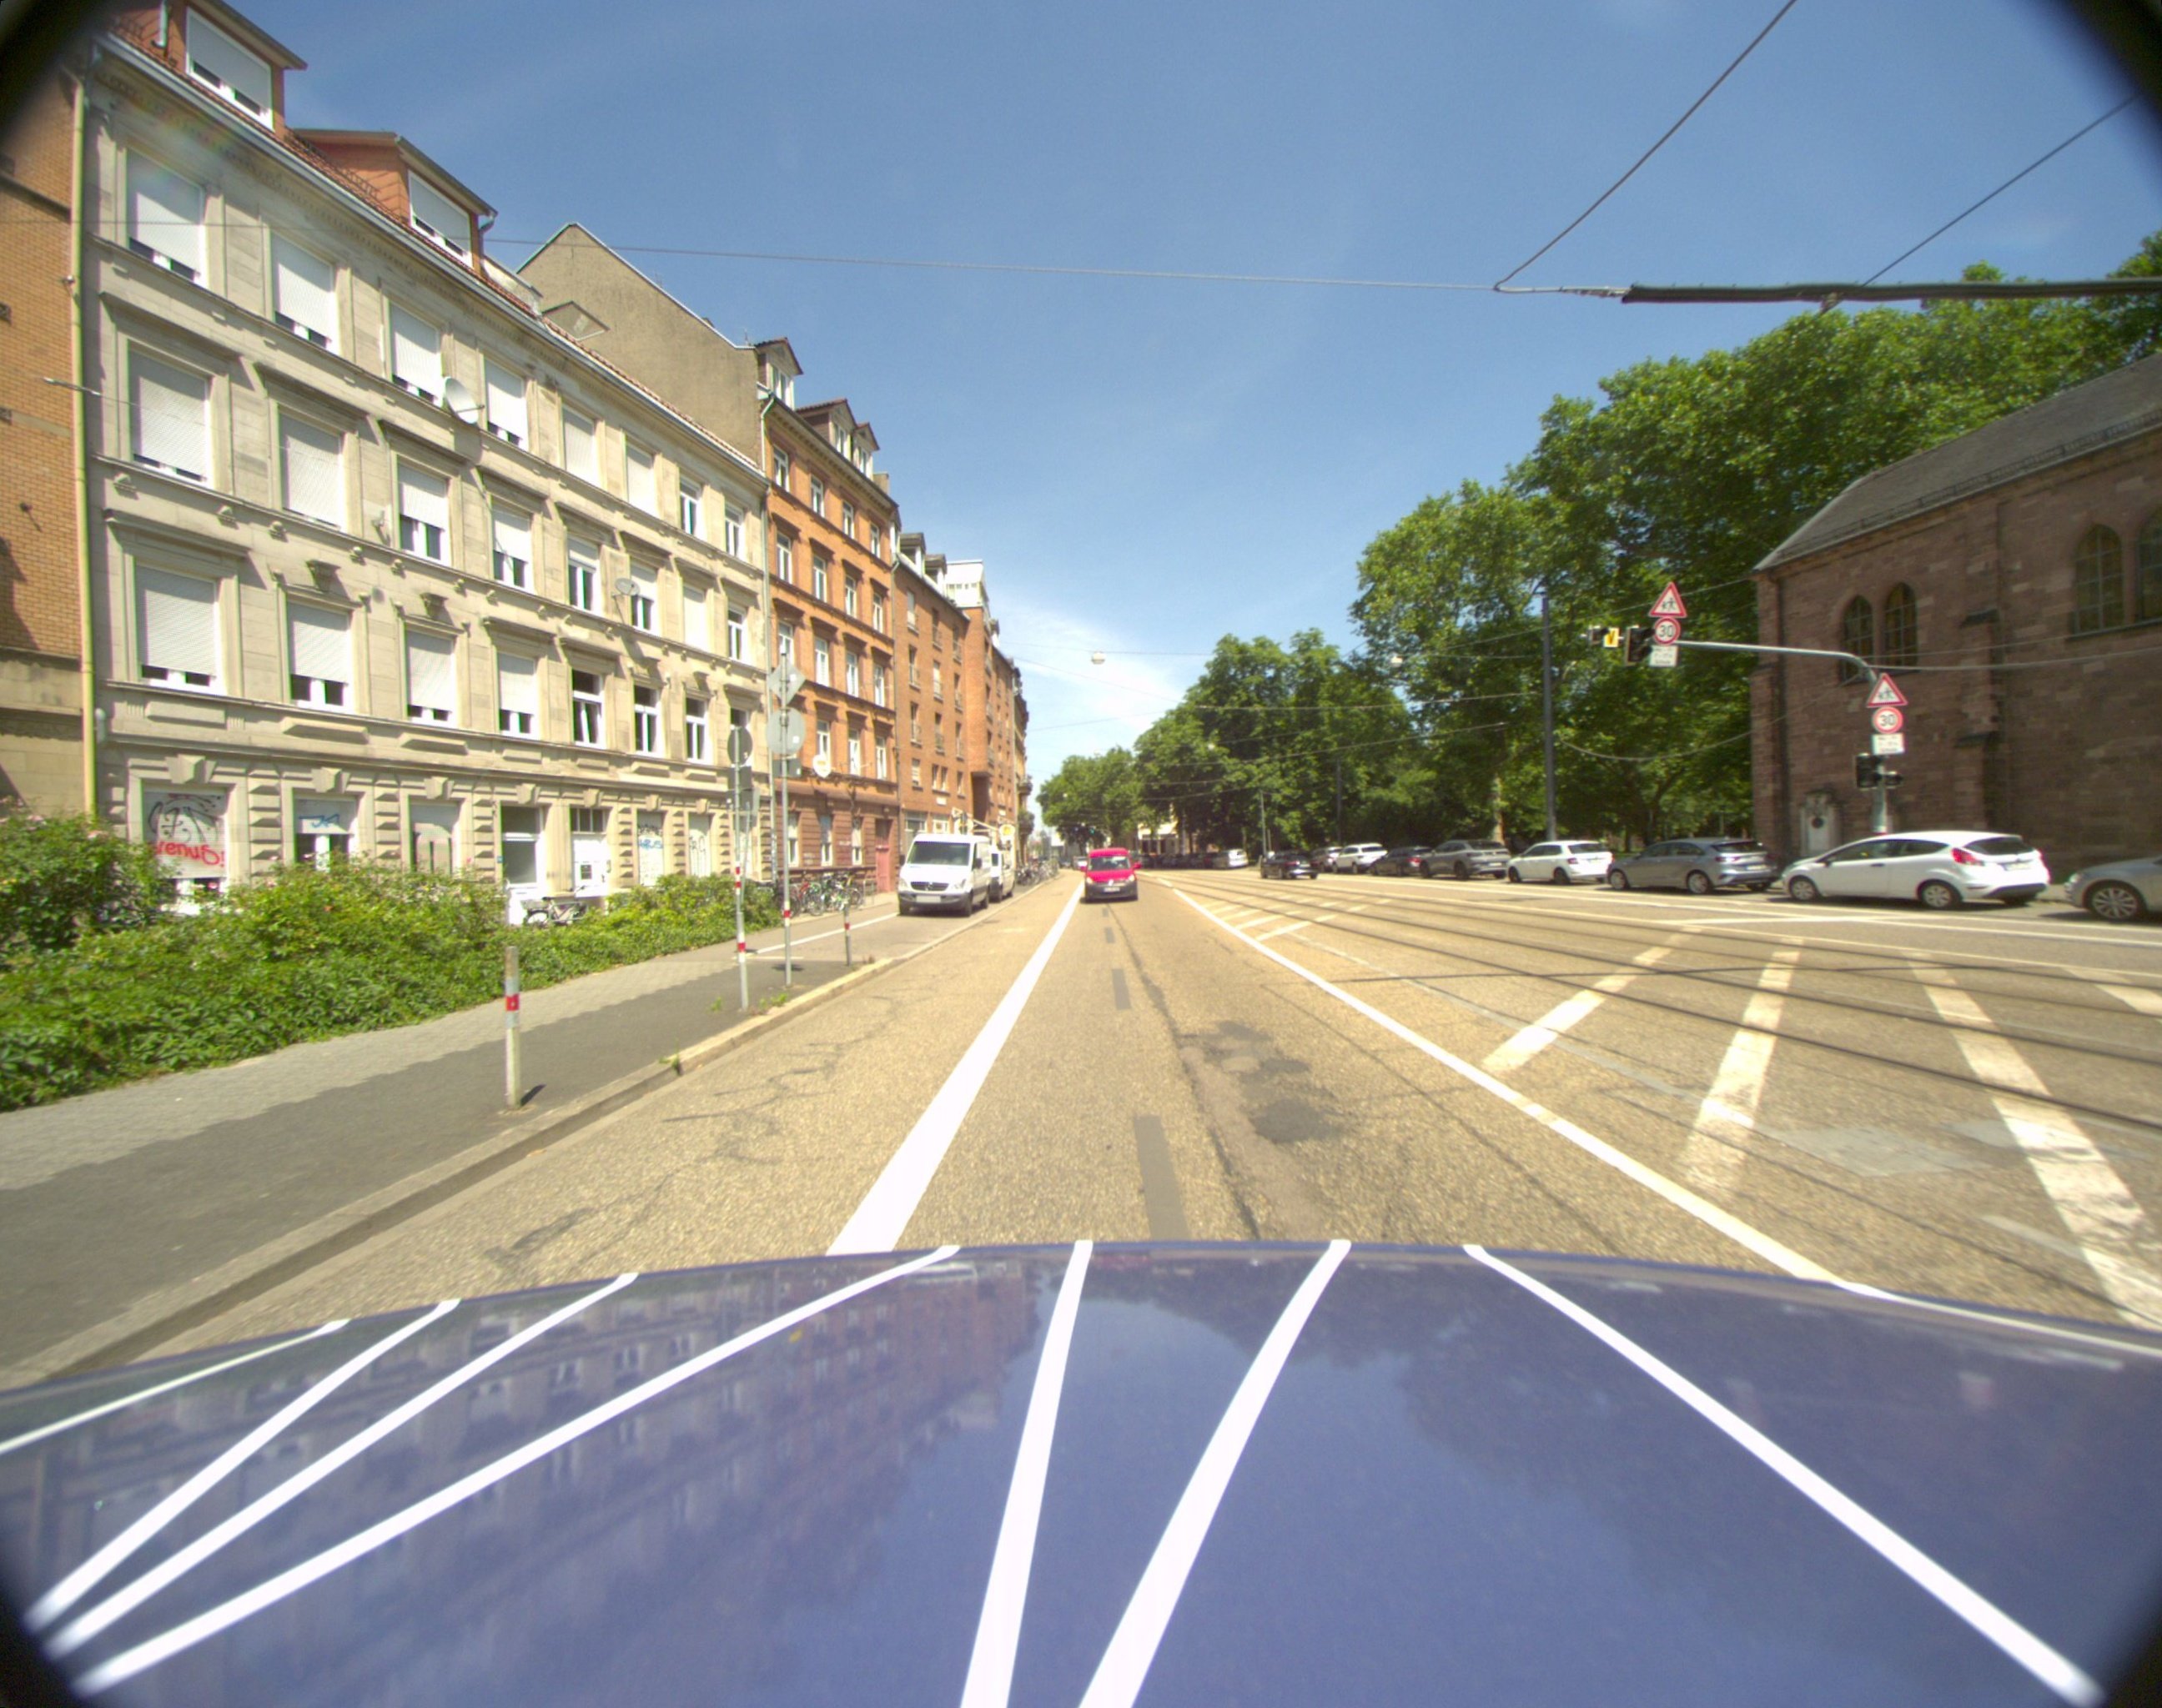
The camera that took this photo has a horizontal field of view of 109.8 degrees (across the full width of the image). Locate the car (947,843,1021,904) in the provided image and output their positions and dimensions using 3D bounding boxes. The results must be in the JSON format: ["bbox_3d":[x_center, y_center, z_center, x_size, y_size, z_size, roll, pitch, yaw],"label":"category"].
[{"bbox_3d":[-3.599,0.672,29.243,1.998,2.123,5.272,1,1,2],"label":"car"}]

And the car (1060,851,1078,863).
[{"bbox_3d":[-1.644,0.441,99.743,1.810,1.455,3.997,-3,0,-8],"label":"car"}]

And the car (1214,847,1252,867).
[{"bbox_3d":[12.835,0.229,64.514,1.978,1.554,3.998,-3,0,-6],"label":"car"}]

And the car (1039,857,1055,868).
[{"bbox_3d":[-5.299,1.310,118.360,2.000,1.641,3.997,-3,0,-7],"label":"car"}]

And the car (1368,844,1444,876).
[{"bbox_3d":[15.555,0.268,36.619,1.672,1.368,3.998,-3,0,-4],"label":"car"}]

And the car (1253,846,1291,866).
[{"bbox_3d":[14.606,0.122,58.256,1.650,1.372,3.764,-3,0,-4],"label":"car"}]

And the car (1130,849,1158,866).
[{"bbox_3d":[6.192,0.321,75.161,1.978,1.455,3.998,-3,0,-5],"label":"car"}]

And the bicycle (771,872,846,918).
[{"bbox_3d":[-7.792,1.169,21.741,1.919,1.174,0.493,-3,1,2],"label":"bicycle"}]

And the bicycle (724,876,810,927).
[{"bbox_3d":[-8.000,1.202,19.399,1.919,1.174,0.493,-3,1,2],"label":"bicycle"}]

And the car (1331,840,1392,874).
[{"bbox_3d":[15.324,0.145,41.743,1.747,1.643,3.904,-3,0,-2],"label":"car"}]

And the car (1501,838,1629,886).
[{"bbox_3d":[16.451,0.246,26.066,1.748,1.450,3.752,-3,0,-4],"label":"car"}]

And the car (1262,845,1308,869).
[{"bbox_3d":[14.270,0.199,53.398,1.748,1.489,4.186,-3,0,-4],"label":"car"}]

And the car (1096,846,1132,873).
[{"bbox_3d":[2.528,0.378,59.634,2.166,1.927,4.852,-3,0,-4],"label":"car"}]

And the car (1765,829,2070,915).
[{"bbox_3d":[16.830,0.316,15.647,1.663,1.450,4.057,-3,0,-3],"label":"car"}]

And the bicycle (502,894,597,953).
[{"bbox_3d":[-10.937,1.410,15.699,0.456,1.016,1.770,-3,1,8],"label":"bicycle"}]

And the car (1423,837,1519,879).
[{"bbox_3d":[15.889,0.152,31.194,1.748,1.515,3.752,-3,0,-4],"label":"car"}]

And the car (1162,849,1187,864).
[{"bbox_3d":[9.954,0.281,81.135,1.747,1.506,3.815,-3,0,-8],"label":"car"}]

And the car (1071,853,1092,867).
[{"bbox_3d":[0.029,0.697,85.531,1.810,1.455,3.997,-3,0,-8],"label":"car"}]

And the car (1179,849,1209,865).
[{"bbox_3d":[11.130,0.311,75.109,1.810,1.455,3.997,-3,0,-8],"label":"car"}]

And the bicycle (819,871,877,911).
[{"bbox_3d":[-7.631,1.194,24.954,0.491,1.174,1.924,-3,1,31],"label":"bicycle"}]

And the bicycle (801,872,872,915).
[{"bbox_3d":[-7.383,1.196,22.966,1.919,1.174,0.493,-3,1,2],"label":"bicycle"}]

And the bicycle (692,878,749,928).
[{"bbox_3d":[-9.610,1.268,20.321,0.492,1.174,1.921,-3,1,2],"label":"bicycle"}]

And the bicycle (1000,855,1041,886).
[{"bbox_3d":[-3.203,0.877,40.211,1.937,1.498,0.665,-3,1,13],"label":"bicycle"}]

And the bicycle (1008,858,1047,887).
[{"bbox_3d":[-2.947,1.021,42.008,1.937,1.498,0.665,-3,1,13],"label":"bicycle"}]

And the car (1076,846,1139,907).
[{"bbox_3d":[0.891,0.686,26.302,1.859,1.823,5.166,-3,0,1],"label":"car"}]

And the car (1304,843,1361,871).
[{"bbox_3d":[15.214,0.175,46.228,1.748,1.489,4.186,-3,0,-4],"label":"car"}]

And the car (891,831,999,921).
[{"bbox_3d":[-3.908,0.555,22.851,1.998,2.317,5.407,3,1,2],"label":"car"}]

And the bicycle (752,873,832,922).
[{"bbox_3d":[-7.750,1.162,20.408,1.919,1.174,0.493,-3,1,2],"label":"bicycle"}]

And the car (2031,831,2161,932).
[{"bbox_3d":[17.028,0.396,10.795,1.663,1.450,4.219,-3,0,-3],"label":"car"}]

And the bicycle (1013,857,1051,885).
[{"bbox_3d":[-2.795,0.960,43.474,1.937,1.498,0.665,-3,1,13],"label":"bicycle"}]

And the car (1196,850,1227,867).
[{"bbox_3d":[11.919,0.407,69.561,1.810,1.455,3.998,-3,0,-4],"label":"car"}]

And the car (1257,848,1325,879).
[{"bbox_3d":[10.398,0.447,37.897,1.751,1.387,4.344,-3,0,-6],"label":"car"}]

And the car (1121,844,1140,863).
[{"bbox_3d":[6.580,-0.085,100.521,1.822,2.284,3.760,-3,1,-5],"label":"car"}]

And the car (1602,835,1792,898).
[{"bbox_3d":[16.535,0.303,20.685,1.663,1.450,4.057,-3,0,-4],"label":"car"}]
